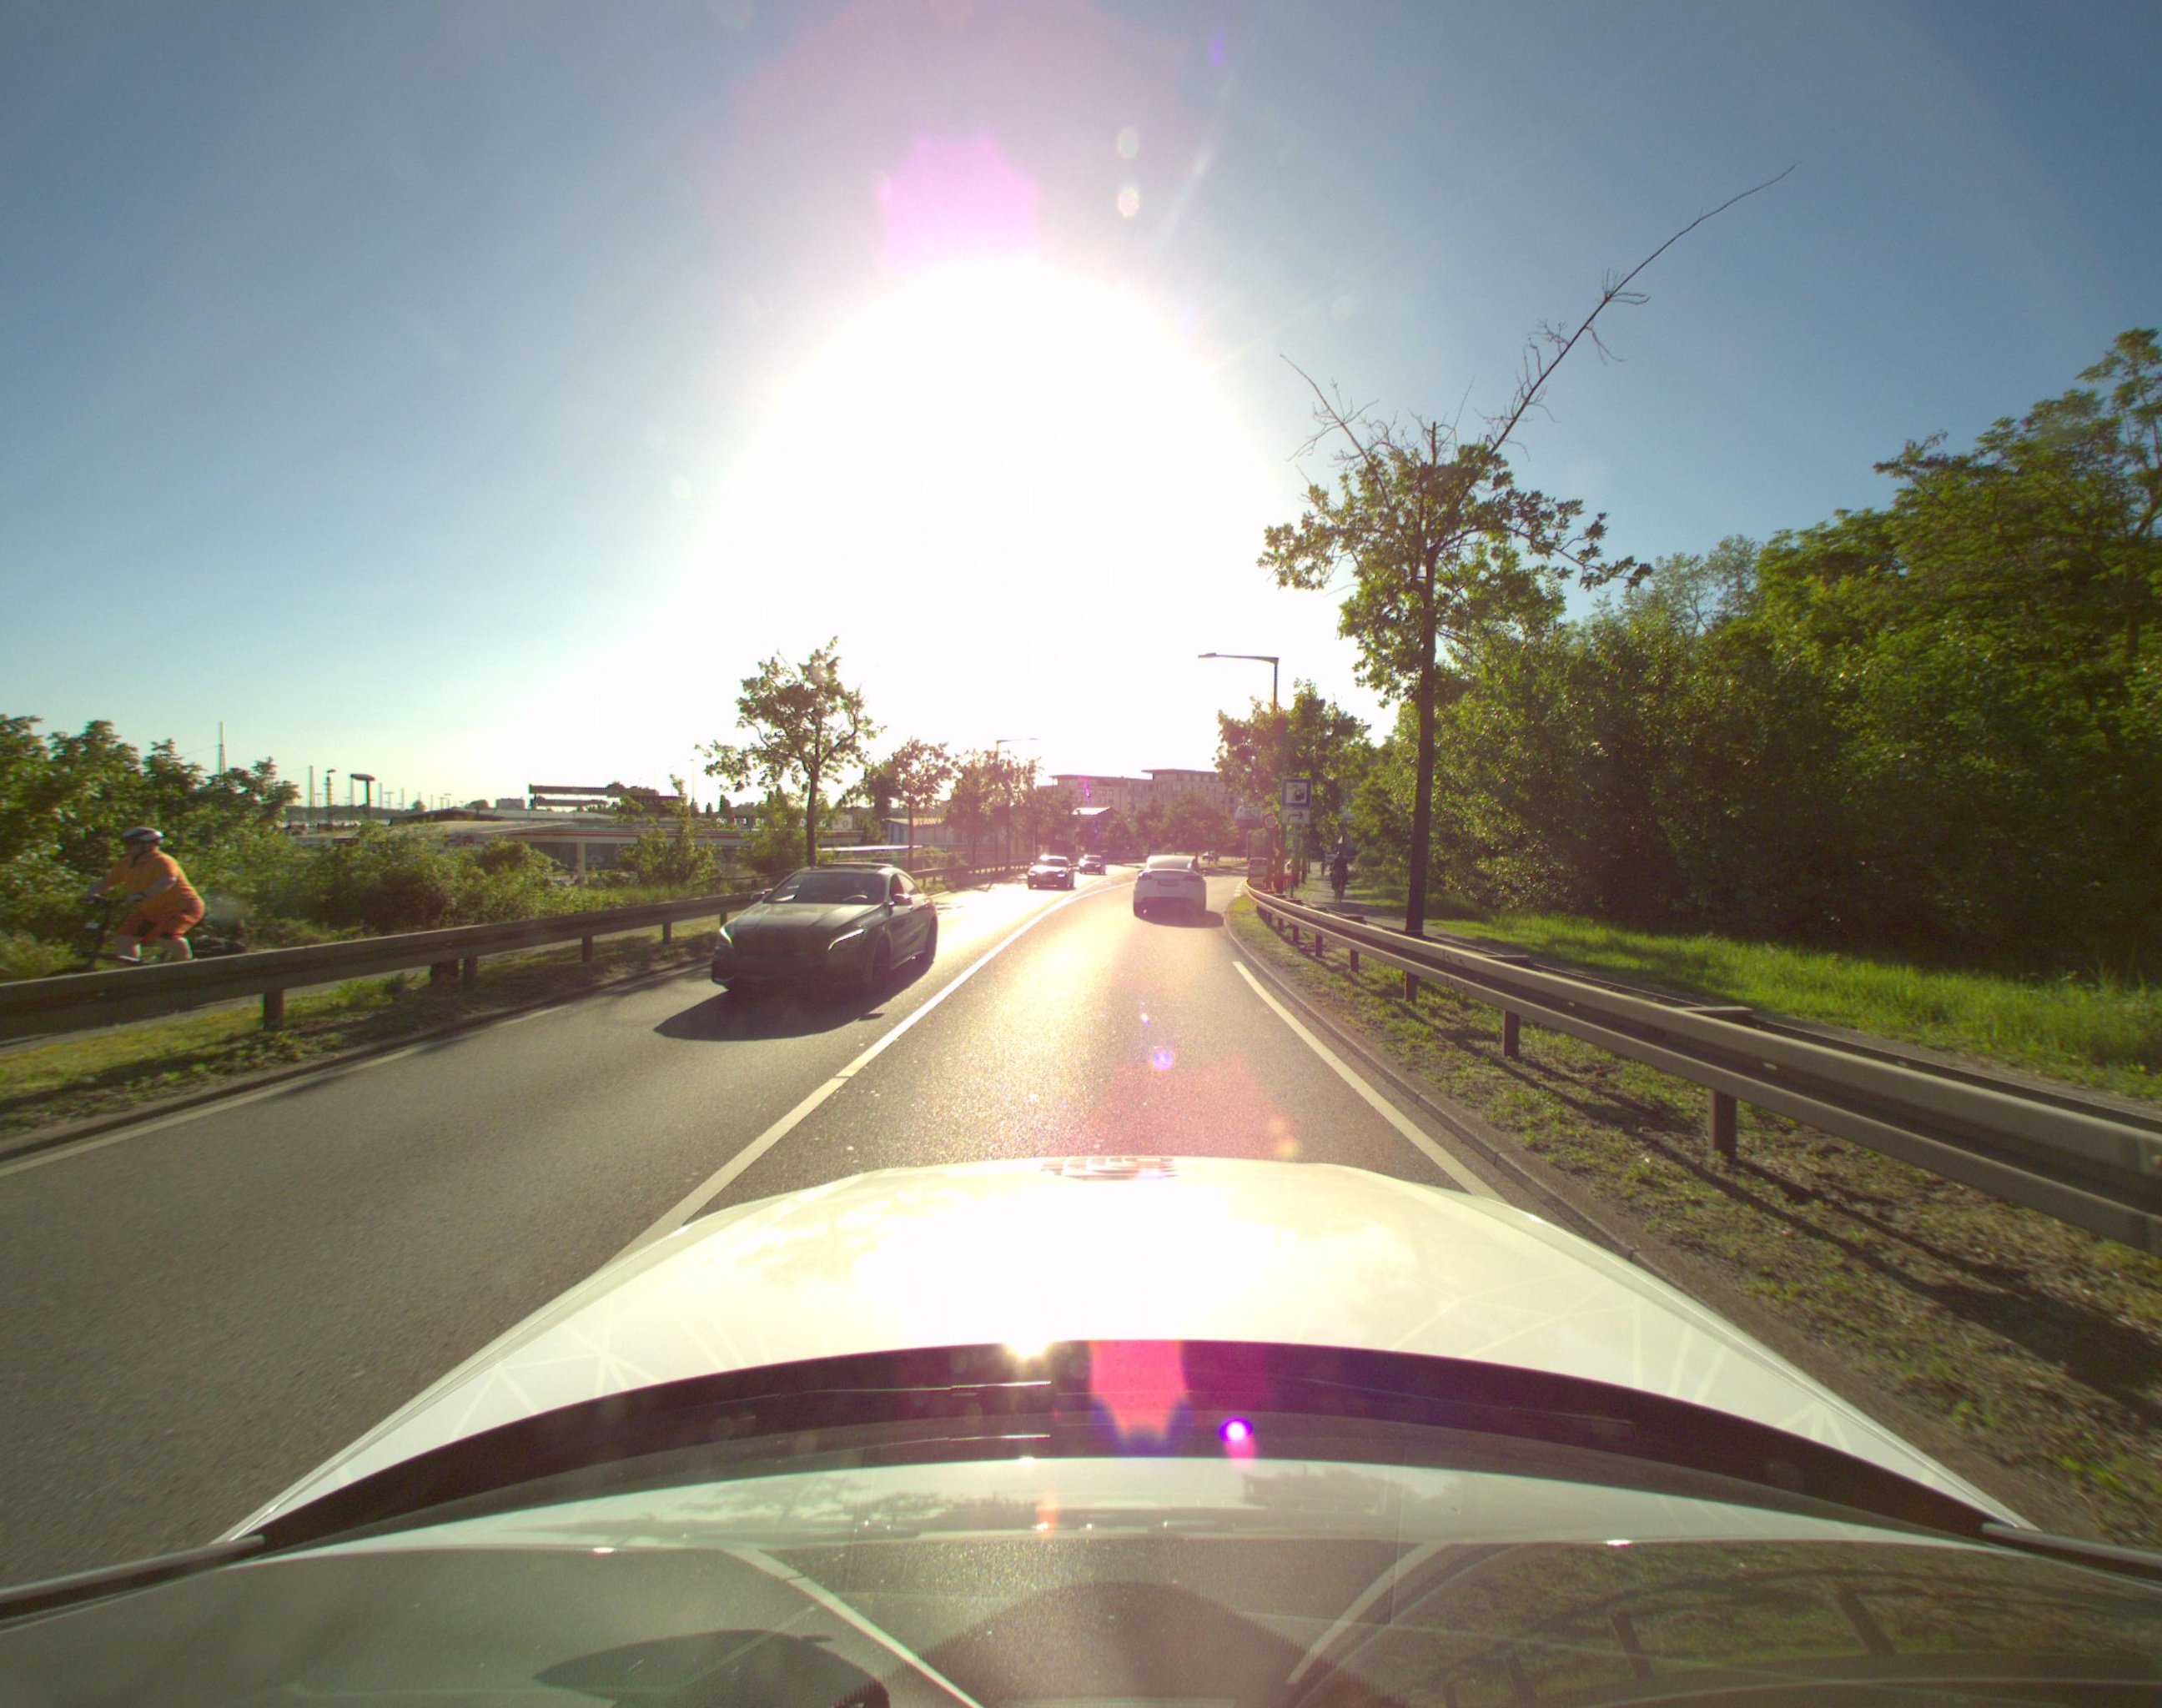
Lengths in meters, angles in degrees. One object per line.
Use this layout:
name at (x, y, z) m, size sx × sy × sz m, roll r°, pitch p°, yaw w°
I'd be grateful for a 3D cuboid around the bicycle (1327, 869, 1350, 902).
bicycle at (8.732, 1.052, 27.654) m, size 0.695 × 1.074 × 1.929 m, roll 0°, pitch -1°, yaw 15°

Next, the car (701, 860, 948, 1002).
car at (-3.026, 0.823, 10.618) m, size 1.684 × 1.441 × 4.219 m, roll 0°, pitch 0°, yaw 3°

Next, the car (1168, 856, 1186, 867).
car at (13.322, 1.040, 113.045) m, size 1.748 × 1.489 × 4.296 m, roll 3°, pitch 0°, yaw 17°

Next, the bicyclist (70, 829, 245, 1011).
bicyclist at (-8.708, 0.591, 7.721) m, size 0.649 × 1.623 × 0.874 m, roll 0°, pitch 0°, yaw 1°

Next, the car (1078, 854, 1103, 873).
car at (0.768, 0.758, 64.860) m, size 1.656 × 1.445 × 3.855 m, roll 1°, pitch 0°, yaw 5°

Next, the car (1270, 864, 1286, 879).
car at (22.598, 2.011, 93.415) m, size 1.592 × 1.434 × 3.694 m, roll 2°, pitch 3°, yaw 15°

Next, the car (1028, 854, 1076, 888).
car at (-1.308, 0.747, 38.600) m, size 1.801 × 1.496 × 4.373 m, roll 0°, pitch 0°, yaw 4°

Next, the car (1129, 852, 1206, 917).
car at (2.542, 0.784, 22.955) m, size 1.903 × 1.641 × 4.421 m, roll 0°, pitch 0°, yaw 9°

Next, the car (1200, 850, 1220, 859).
car at (21.336, 0.153, 134.549) m, size 1.713 × 1.385 × 4.524 m, roll 3°, pitch 1°, yaw 31°

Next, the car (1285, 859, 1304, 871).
car at (29.406, 1.540, 112.027) m, size 1.747 × 1.475 × 4.313 m, roll 2°, pitch 2°, yaw 25°

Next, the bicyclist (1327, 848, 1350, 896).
bicyclist at (8.690, 0.614, 27.518) m, size 0.702 × 1.578 × 1.008 m, roll 0°, pitch -1°, yaw 15°

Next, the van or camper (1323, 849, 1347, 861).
van or camper at (40.571, 0.098, 129.984) m, size 1.809 × 1.790 × 4.572 m, roll 4°, pitch 3°, yaw 42°

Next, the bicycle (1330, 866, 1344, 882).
bicycle at (17.979, 1.390, 57.234) m, size 0.689 × 1.095 × 2.130 m, roll 0°, pitch 0°, yaw 24°

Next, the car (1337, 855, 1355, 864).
car at (48.815, 0.957, 149.972) m, size 1.692 × 1.522 × 3.765 m, roll 3°, pitch 3°, yaw 44°

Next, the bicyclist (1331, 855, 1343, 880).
bicyclist at (18.014, 0.946, 57.352) m, size 0.669 × 1.776 × 0.953 m, roll 0°, pitch 0°, yaw 24°

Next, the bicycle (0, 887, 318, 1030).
bicycle at (-8.706, 0.916, 7.854) m, size 0.658 × 1.095 × 2.109 m, roll 0°, pitch 0°, yaw 1°

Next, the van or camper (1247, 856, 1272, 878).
van or camper at (15.880, 1.098, 72.304) m, size 1.944 × 1.884 × 4.899 m, roll 0°, pitch 0°, yaw 14°
